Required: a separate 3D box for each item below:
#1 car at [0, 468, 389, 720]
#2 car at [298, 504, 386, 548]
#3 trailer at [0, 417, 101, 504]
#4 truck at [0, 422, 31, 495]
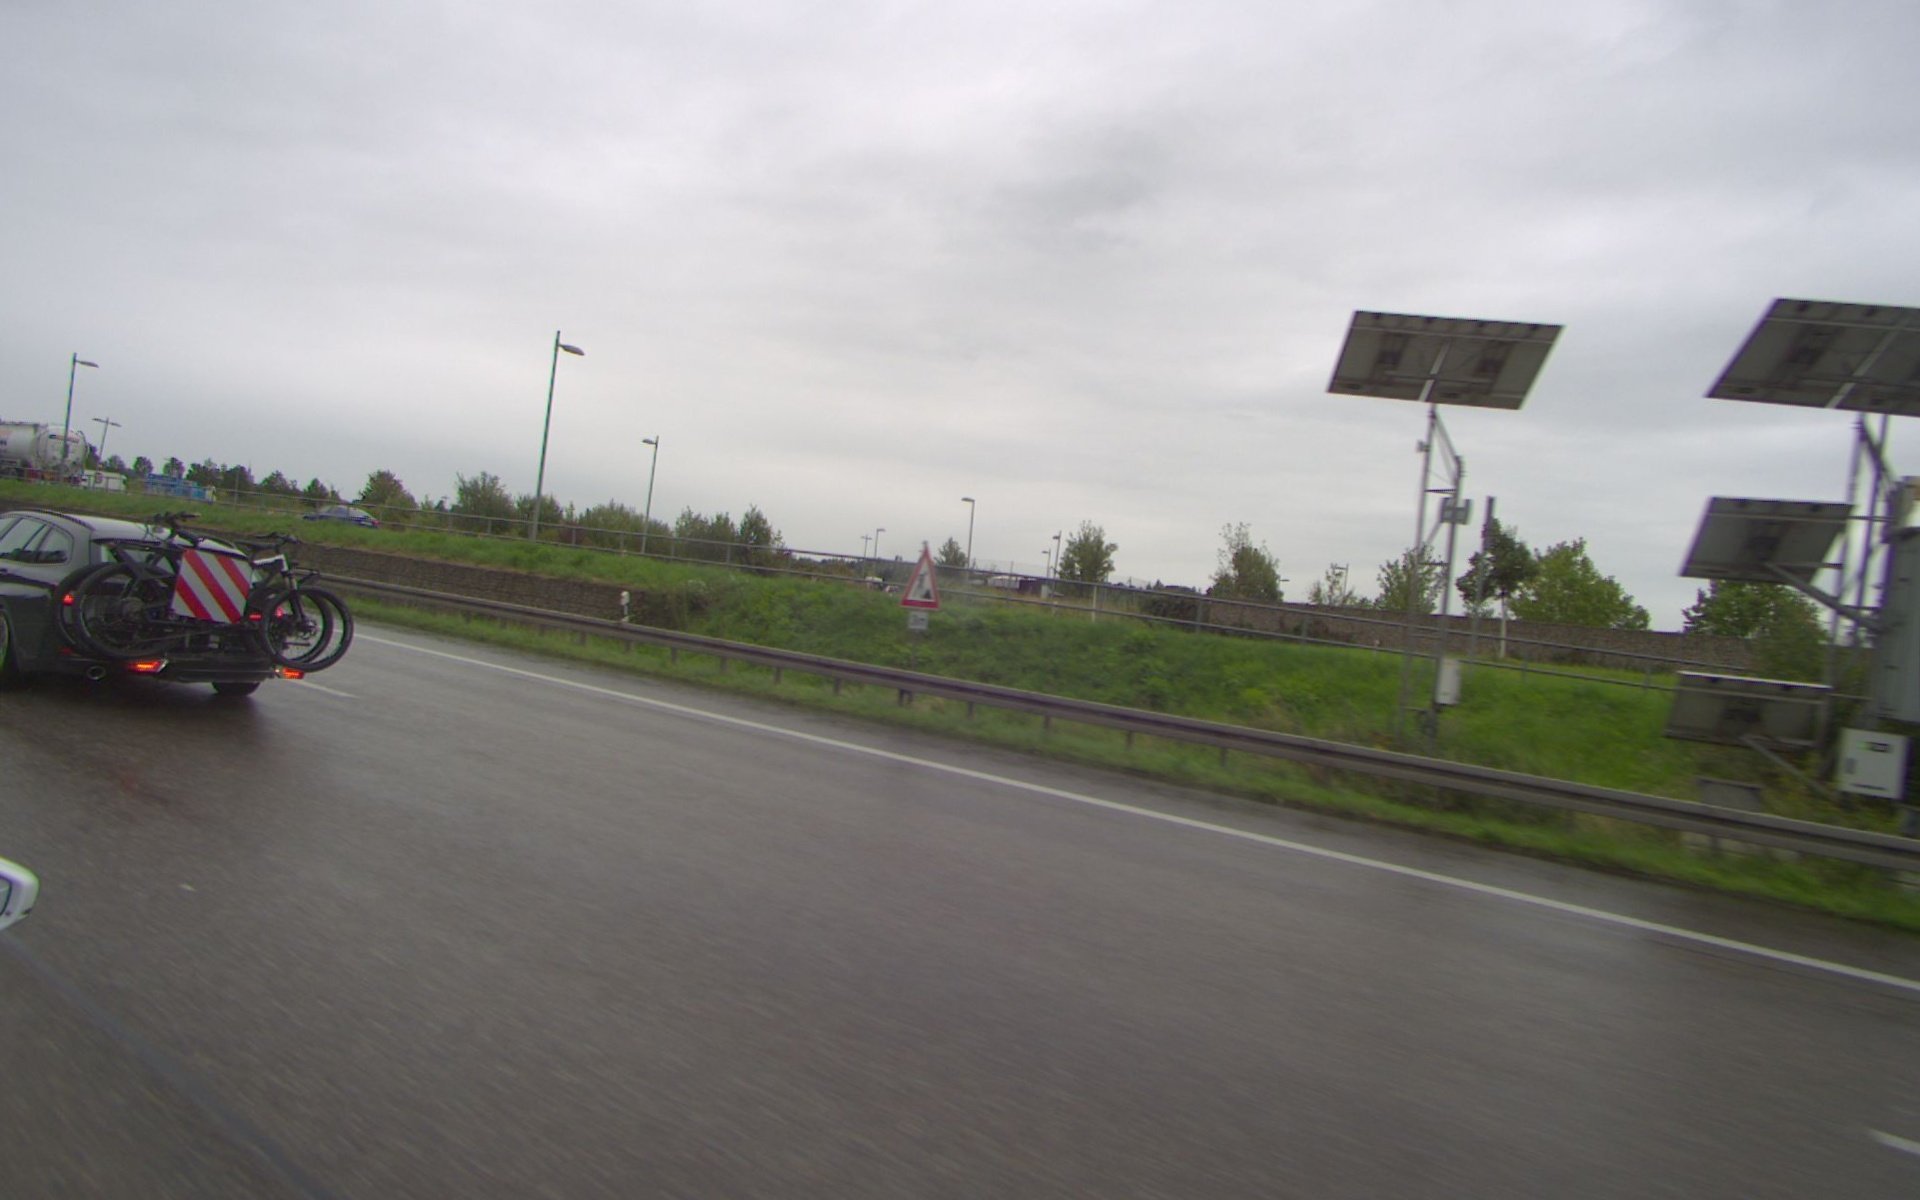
[{"bbox_3d":[-7.752,-0.146,9.121,5.432,1.690,2.061,6,-2,33],"label":"car"},{"bbox_3d":[-29.859,-3.586,48.594,3.930,1.645,1.791,7,0,28],"label":"car"},{"bbox_3d":[-54.526,-8.240,58.509,12.741,4.208,2.988,7,1,32],"label":"trailer"},{"bbox_3d":[-60.333,-8.905,62.150,4.841,4.197,2.952,7,1,32],"label":"truck"}]
